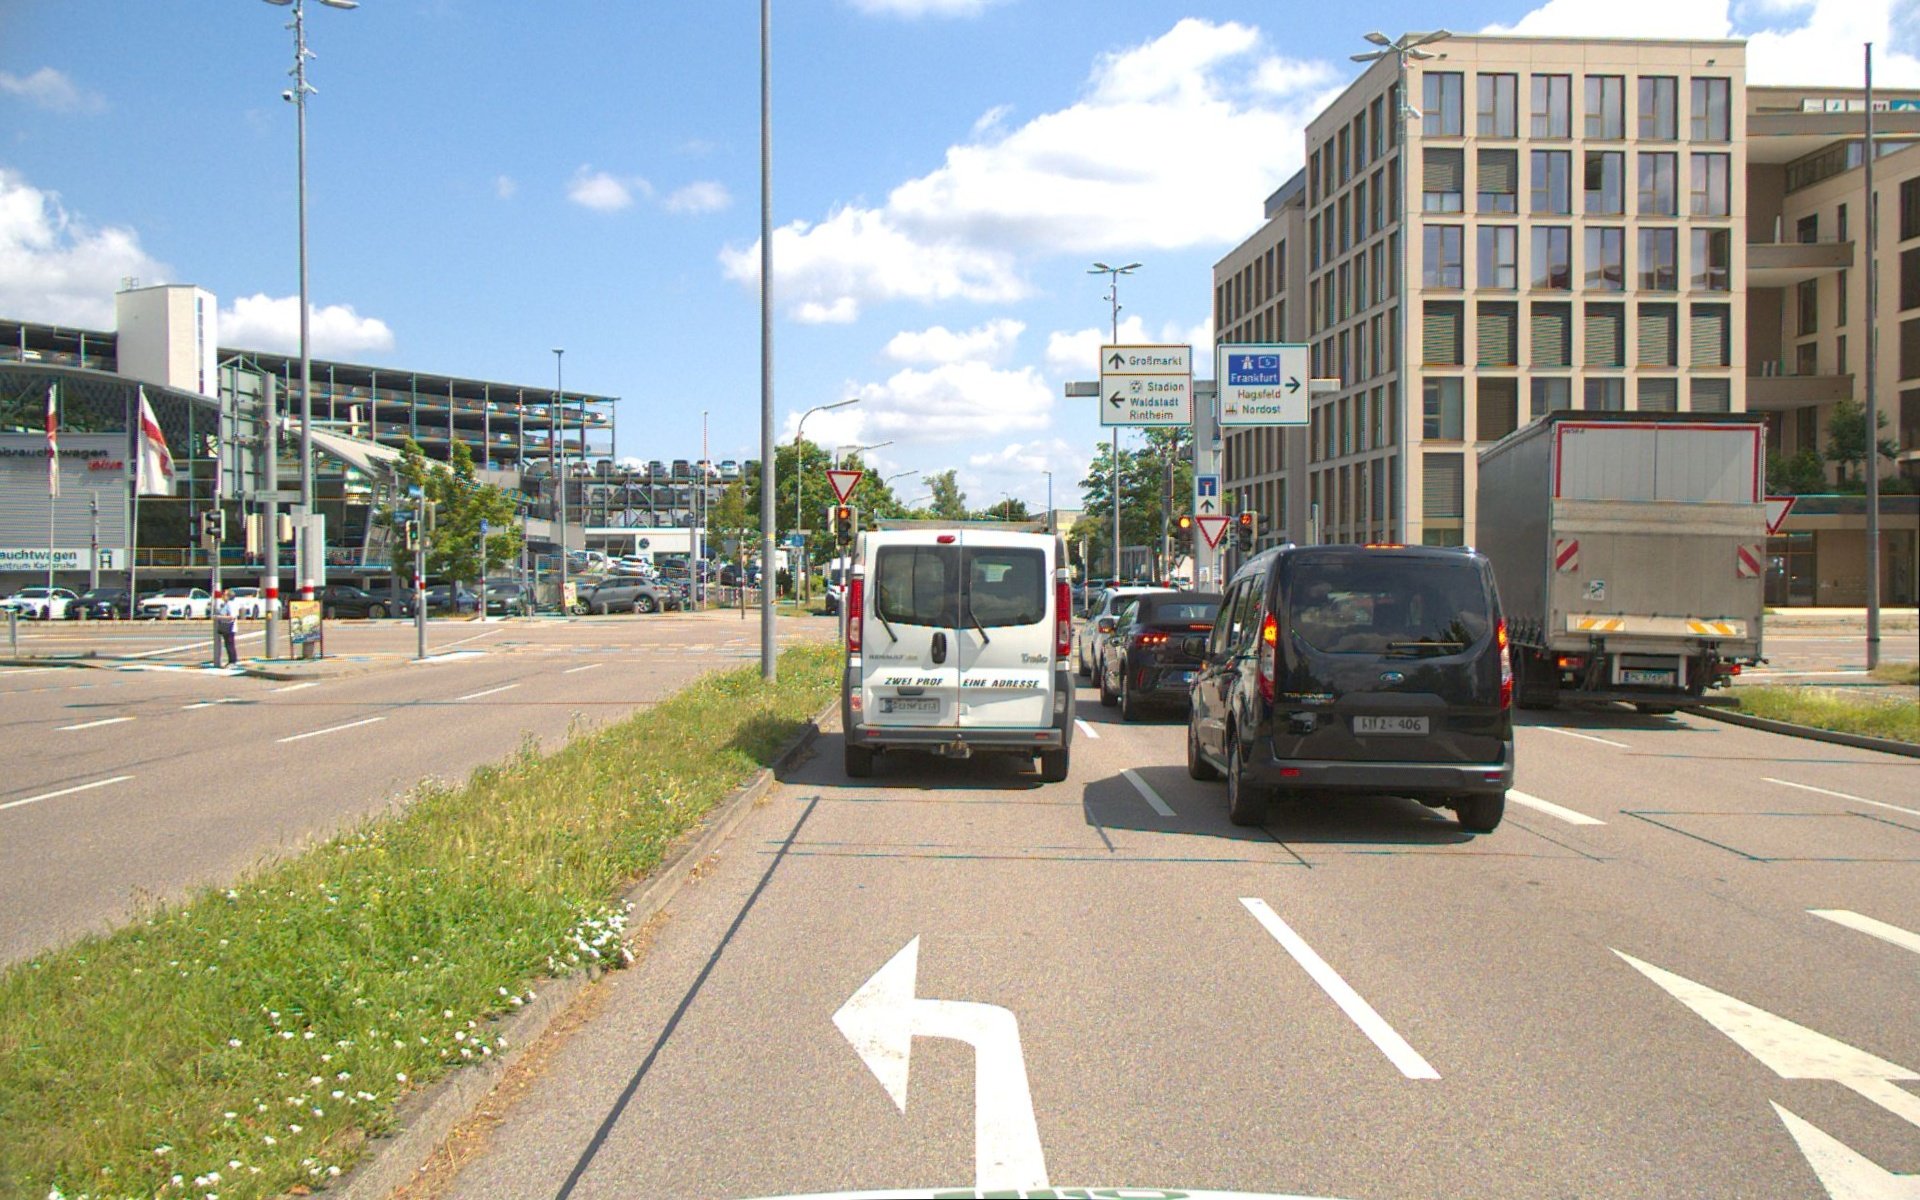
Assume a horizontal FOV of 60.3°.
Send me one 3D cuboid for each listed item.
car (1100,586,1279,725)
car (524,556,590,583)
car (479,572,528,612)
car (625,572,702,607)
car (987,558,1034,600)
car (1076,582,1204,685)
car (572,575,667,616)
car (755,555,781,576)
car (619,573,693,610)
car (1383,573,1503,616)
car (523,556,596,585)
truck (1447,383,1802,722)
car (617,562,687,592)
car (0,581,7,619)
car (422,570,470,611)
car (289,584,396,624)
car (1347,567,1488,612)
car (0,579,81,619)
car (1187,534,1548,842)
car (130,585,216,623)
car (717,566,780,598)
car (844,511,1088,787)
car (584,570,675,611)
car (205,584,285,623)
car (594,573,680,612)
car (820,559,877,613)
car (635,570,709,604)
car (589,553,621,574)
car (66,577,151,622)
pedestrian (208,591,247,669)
[{"bbox_3d":[2.792,0.613,20.879,1.704,1.521,4.000,1,1,0],"label":"car"},{"bbox_3d":[-27.100,-2.052,111.399,4.085,1.743,1.687,1,0,-6],"label":"car"},{"bbox_3d":[-18.674,-0.336,67.534,1.788,1.579,3.981,1,0,-17],"label":"car"},{"bbox_3d":[-15.791,-0.546,88.160,3.835,1.742,1.687,-1,1,-4],"label":"car"},{"bbox_3d":[2.804,-1.202,92.807,1.955,2.294,5.508,0,1,-6],"label":"car"},{"bbox_3d":[2.939,0.520,27.702,1.704,1.570,4.000,1,0,0],"label":"car"},{"bbox_3d":[-14.900,-0.210,72.546,3.785,1.668,1.856,-1,1,-4],"label":"car"},{"bbox_3d":[-14.484,-2.623,124.946,1.810,1.556,3.997,0,1,-5],"label":"car"},{"bbox_3d":[-15.254,-0.440,83.014,3.439,1.742,1.602,-1,1,-4],"label":"car"},{"bbox_3d":[17.412,-0.210,59.748,3.815,1.516,1.794,0,1,-2],"label":"car"},{"bbox_3d":[-24.561,-1.789,101.517,4.085,1.743,1.687,1,0,-6],"label":"car"},{"bbox_3d":[9.211,-0.667,24.170,3.063,4.009,8.867,1,1,10],"label":"truck"},{"bbox_3d":[-19.195,-1.440,103.213,4.085,1.742,1.687,2,1,-7],"label":"car"},{"bbox_3d":[-39.525,0.038,65.411,1.693,1.512,3.698,0,1,-4],"label":"car"},{"bbox_3d":[-20.893,-0.395,67.276,1.788,1.579,3.981,1,0,-17],"label":"car"},{"bbox_3d":[-24.797,0.158,66.534,3.719,1.539,1.677,0,1,-6],"label":"car"},{"bbox_3d":[17.609,-0.411,63.791,4.883,1.635,1.999,0,1,-3],"label":"car"},{"bbox_3d":[-36.711,-0.052,65.683,1.842,1.512,3.698,0,1,-5],"label":"car"},{"bbox_3d":[2.760,0.517,12.113,1.782,1.840,4.001,1,1,2],"label":"car"},{"bbox_3d":[-31.428,0.141,66.156,1.870,1.400,3.749,0,1,-4],"label":"car"},{"bbox_3d":[-13.287,-1.141,104.026,3.911,1.959,1.824,1,0,-7],"label":"car"},{"bbox_3d":[0.099,0.360,14.492,1.817,2.053,4.001,1,0,1],"label":"car"},{"bbox_3d":[-14.955,-0.428,74.945,3.835,1.742,1.687,-1,1,-4],"label":"car"},{"bbox_3d":[-28.796,0.118,66.727,1.741,1.475,4.026,0,1,-4],"label":"car"},{"bbox_3d":[-15.533,-0.353,79.585,3.835,1.742,1.687,-1,1,-4],"label":"car"},{"bbox_3d":[-4.935,-0.678,73.882,1.930,2.295,4.983,-1,1,3],"label":"car"},{"bbox_3d":[-15.975,-0.741,91.807,3.835,1.742,1.687,-1,1,-4],"label":"car"},{"bbox_3d":[-26.989,-2.809,125.790,1.810,1.556,3.997,0,1,-5],"label":"car"},{"bbox_3d":[-33.951,-0.048,66.032,1.722,1.689,3.614,0,1,-5],"label":"car"},{"bbox_3d":[-14.663,0.591,33.112,0.460,1.538,0.511,1,0,24],"label":"pedestrian"}]
